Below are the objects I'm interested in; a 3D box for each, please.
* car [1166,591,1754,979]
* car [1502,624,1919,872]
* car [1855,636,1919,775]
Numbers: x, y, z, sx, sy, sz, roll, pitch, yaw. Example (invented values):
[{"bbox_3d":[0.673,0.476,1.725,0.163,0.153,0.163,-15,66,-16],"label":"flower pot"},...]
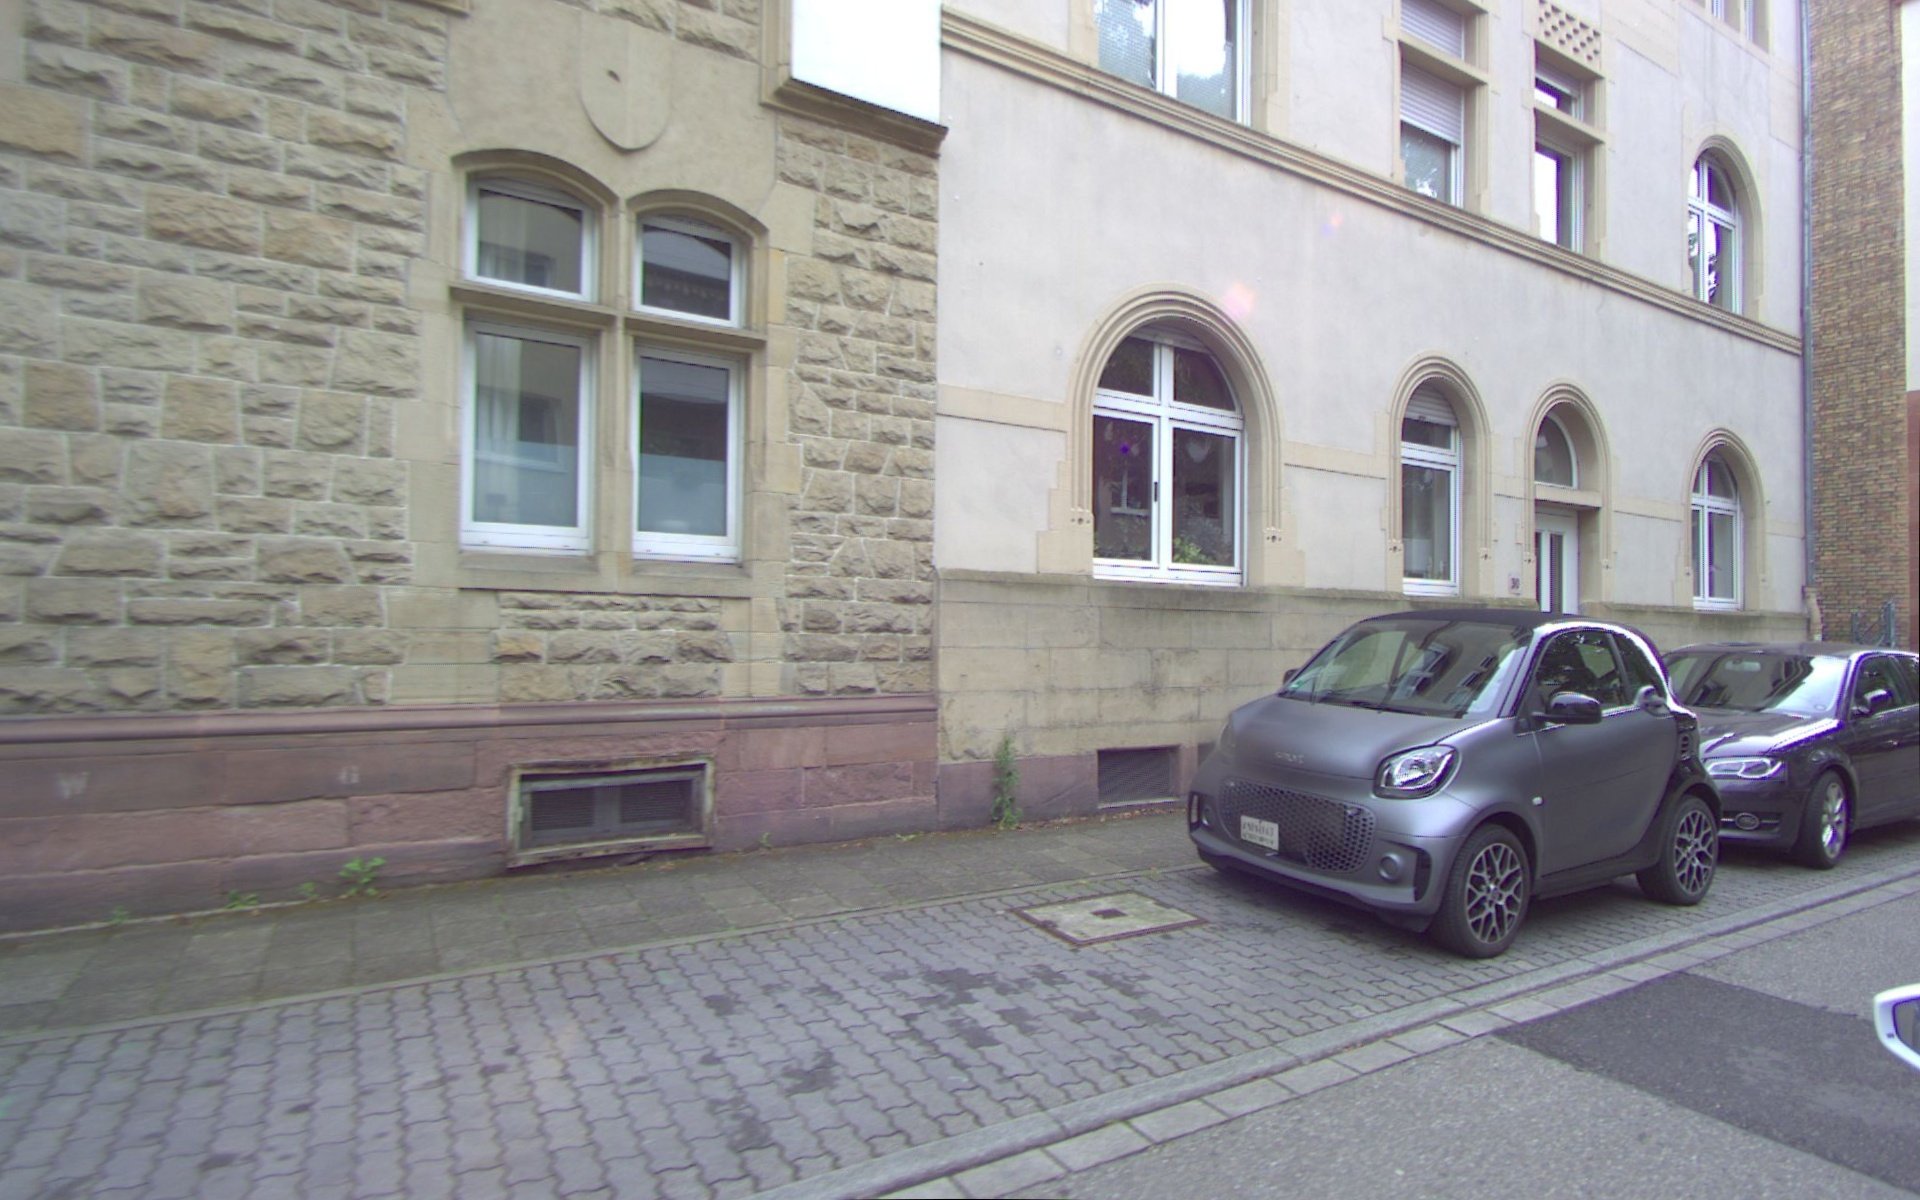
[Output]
[{"bbox_3d":[2.803,0.770,5.593,2.923,1.592,1.638,1,0,-32],"label":"car"},{"bbox_3d":[6.074,0.969,7.589,3.884,1.405,1.718,3,-1,-31],"label":"car"},{"bbox_3d":[11.747,1.138,11.040,4.089,1.405,1.717,1,0,-31],"label":"car"}]
